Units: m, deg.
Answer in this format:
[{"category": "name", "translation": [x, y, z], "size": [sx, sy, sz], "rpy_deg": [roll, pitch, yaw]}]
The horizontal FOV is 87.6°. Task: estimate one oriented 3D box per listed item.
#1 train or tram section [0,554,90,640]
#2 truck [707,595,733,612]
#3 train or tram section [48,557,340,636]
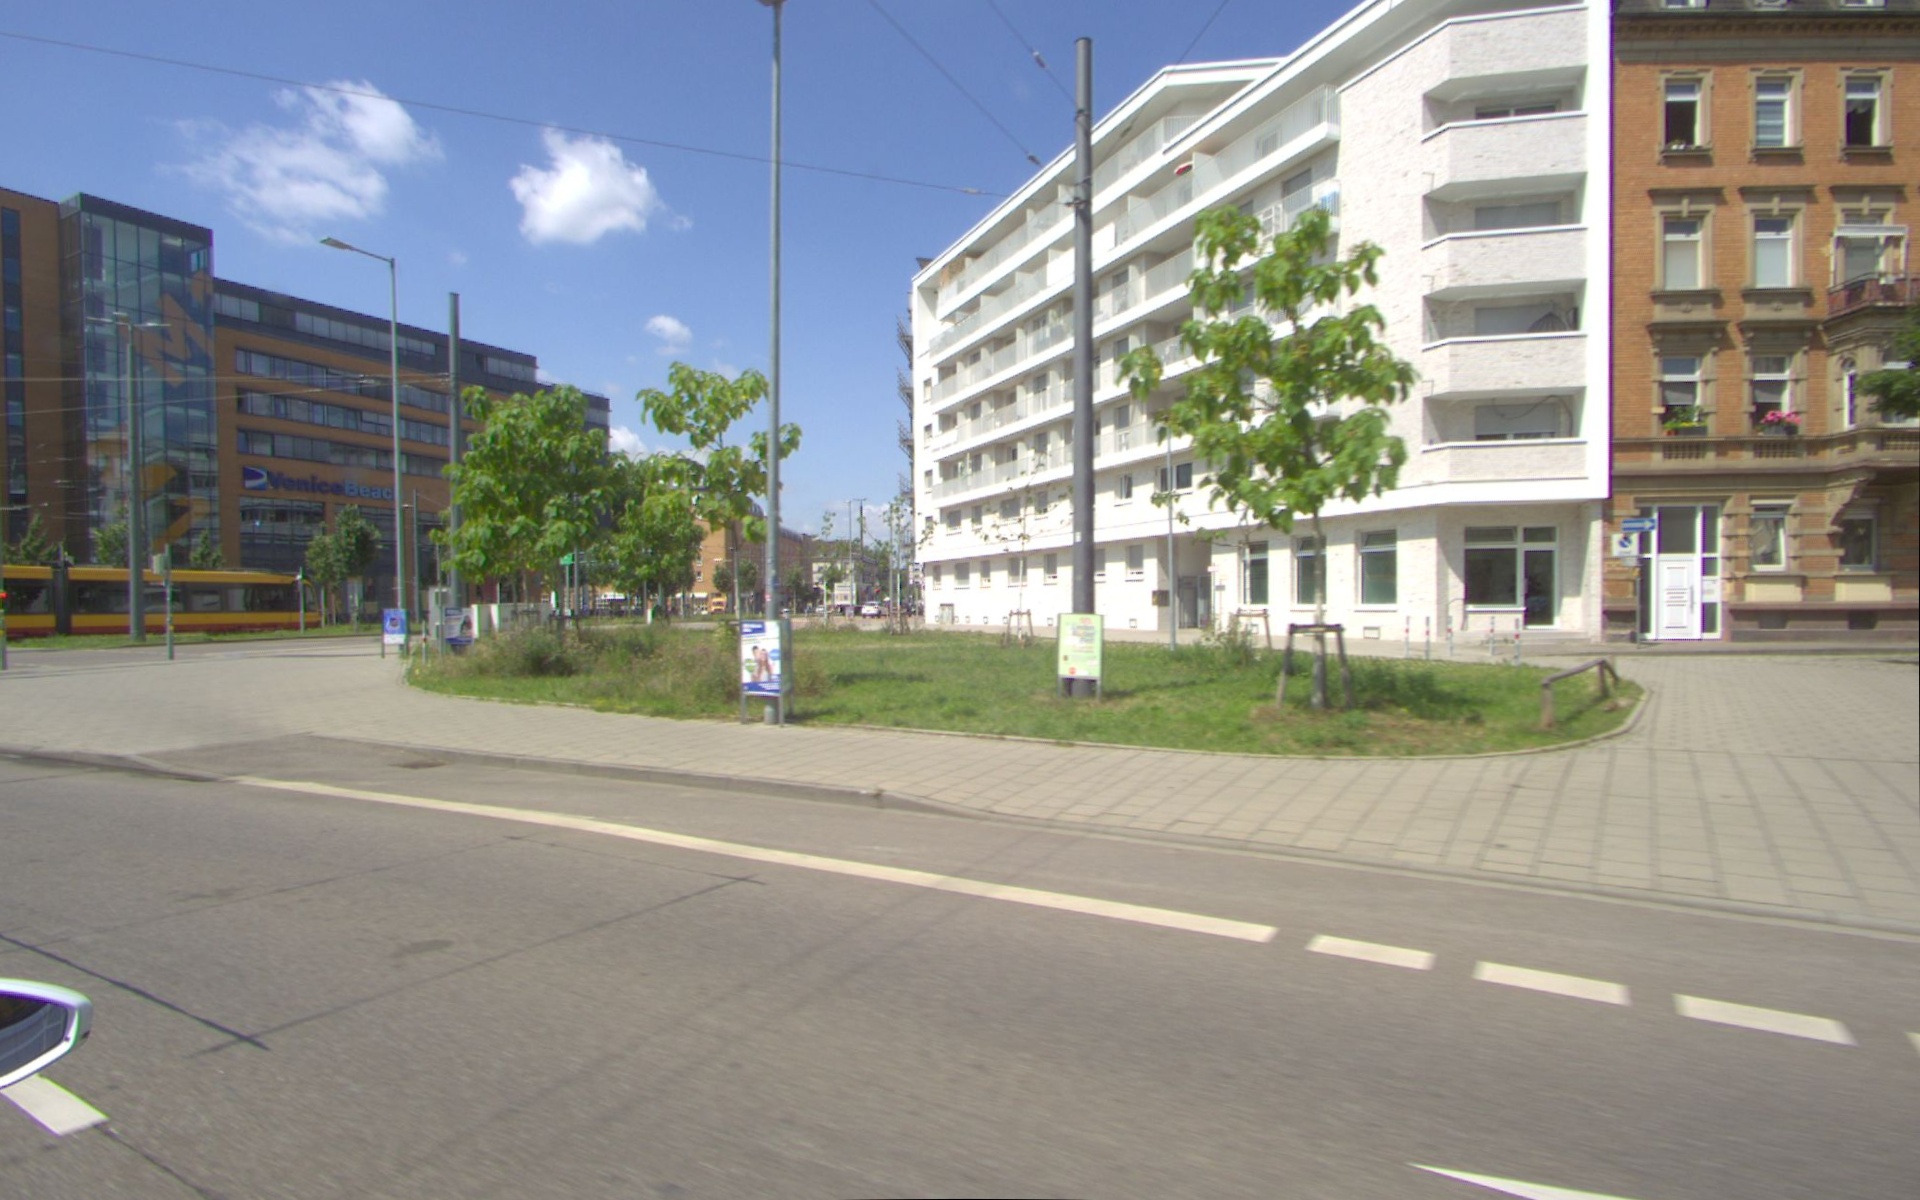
[{"category": "train or tram section", "translation": [-42.784, -0.180, 41.136], "size": [3.007, 3.650, 10.986], "rpy_deg": [0, -1, 13]}, {"category": "truck", "translation": [-31.262, 0.437, 130.700], "size": [1.961, 2.113, 5.524], "rpy_deg": [1, -1, 1]}, {"category": "train or tram section", "translation": [-39.468, -0.032, 52.633], "size": [3.011, 3.668, 12.615], "rpy_deg": [0, -1, 19]}]
